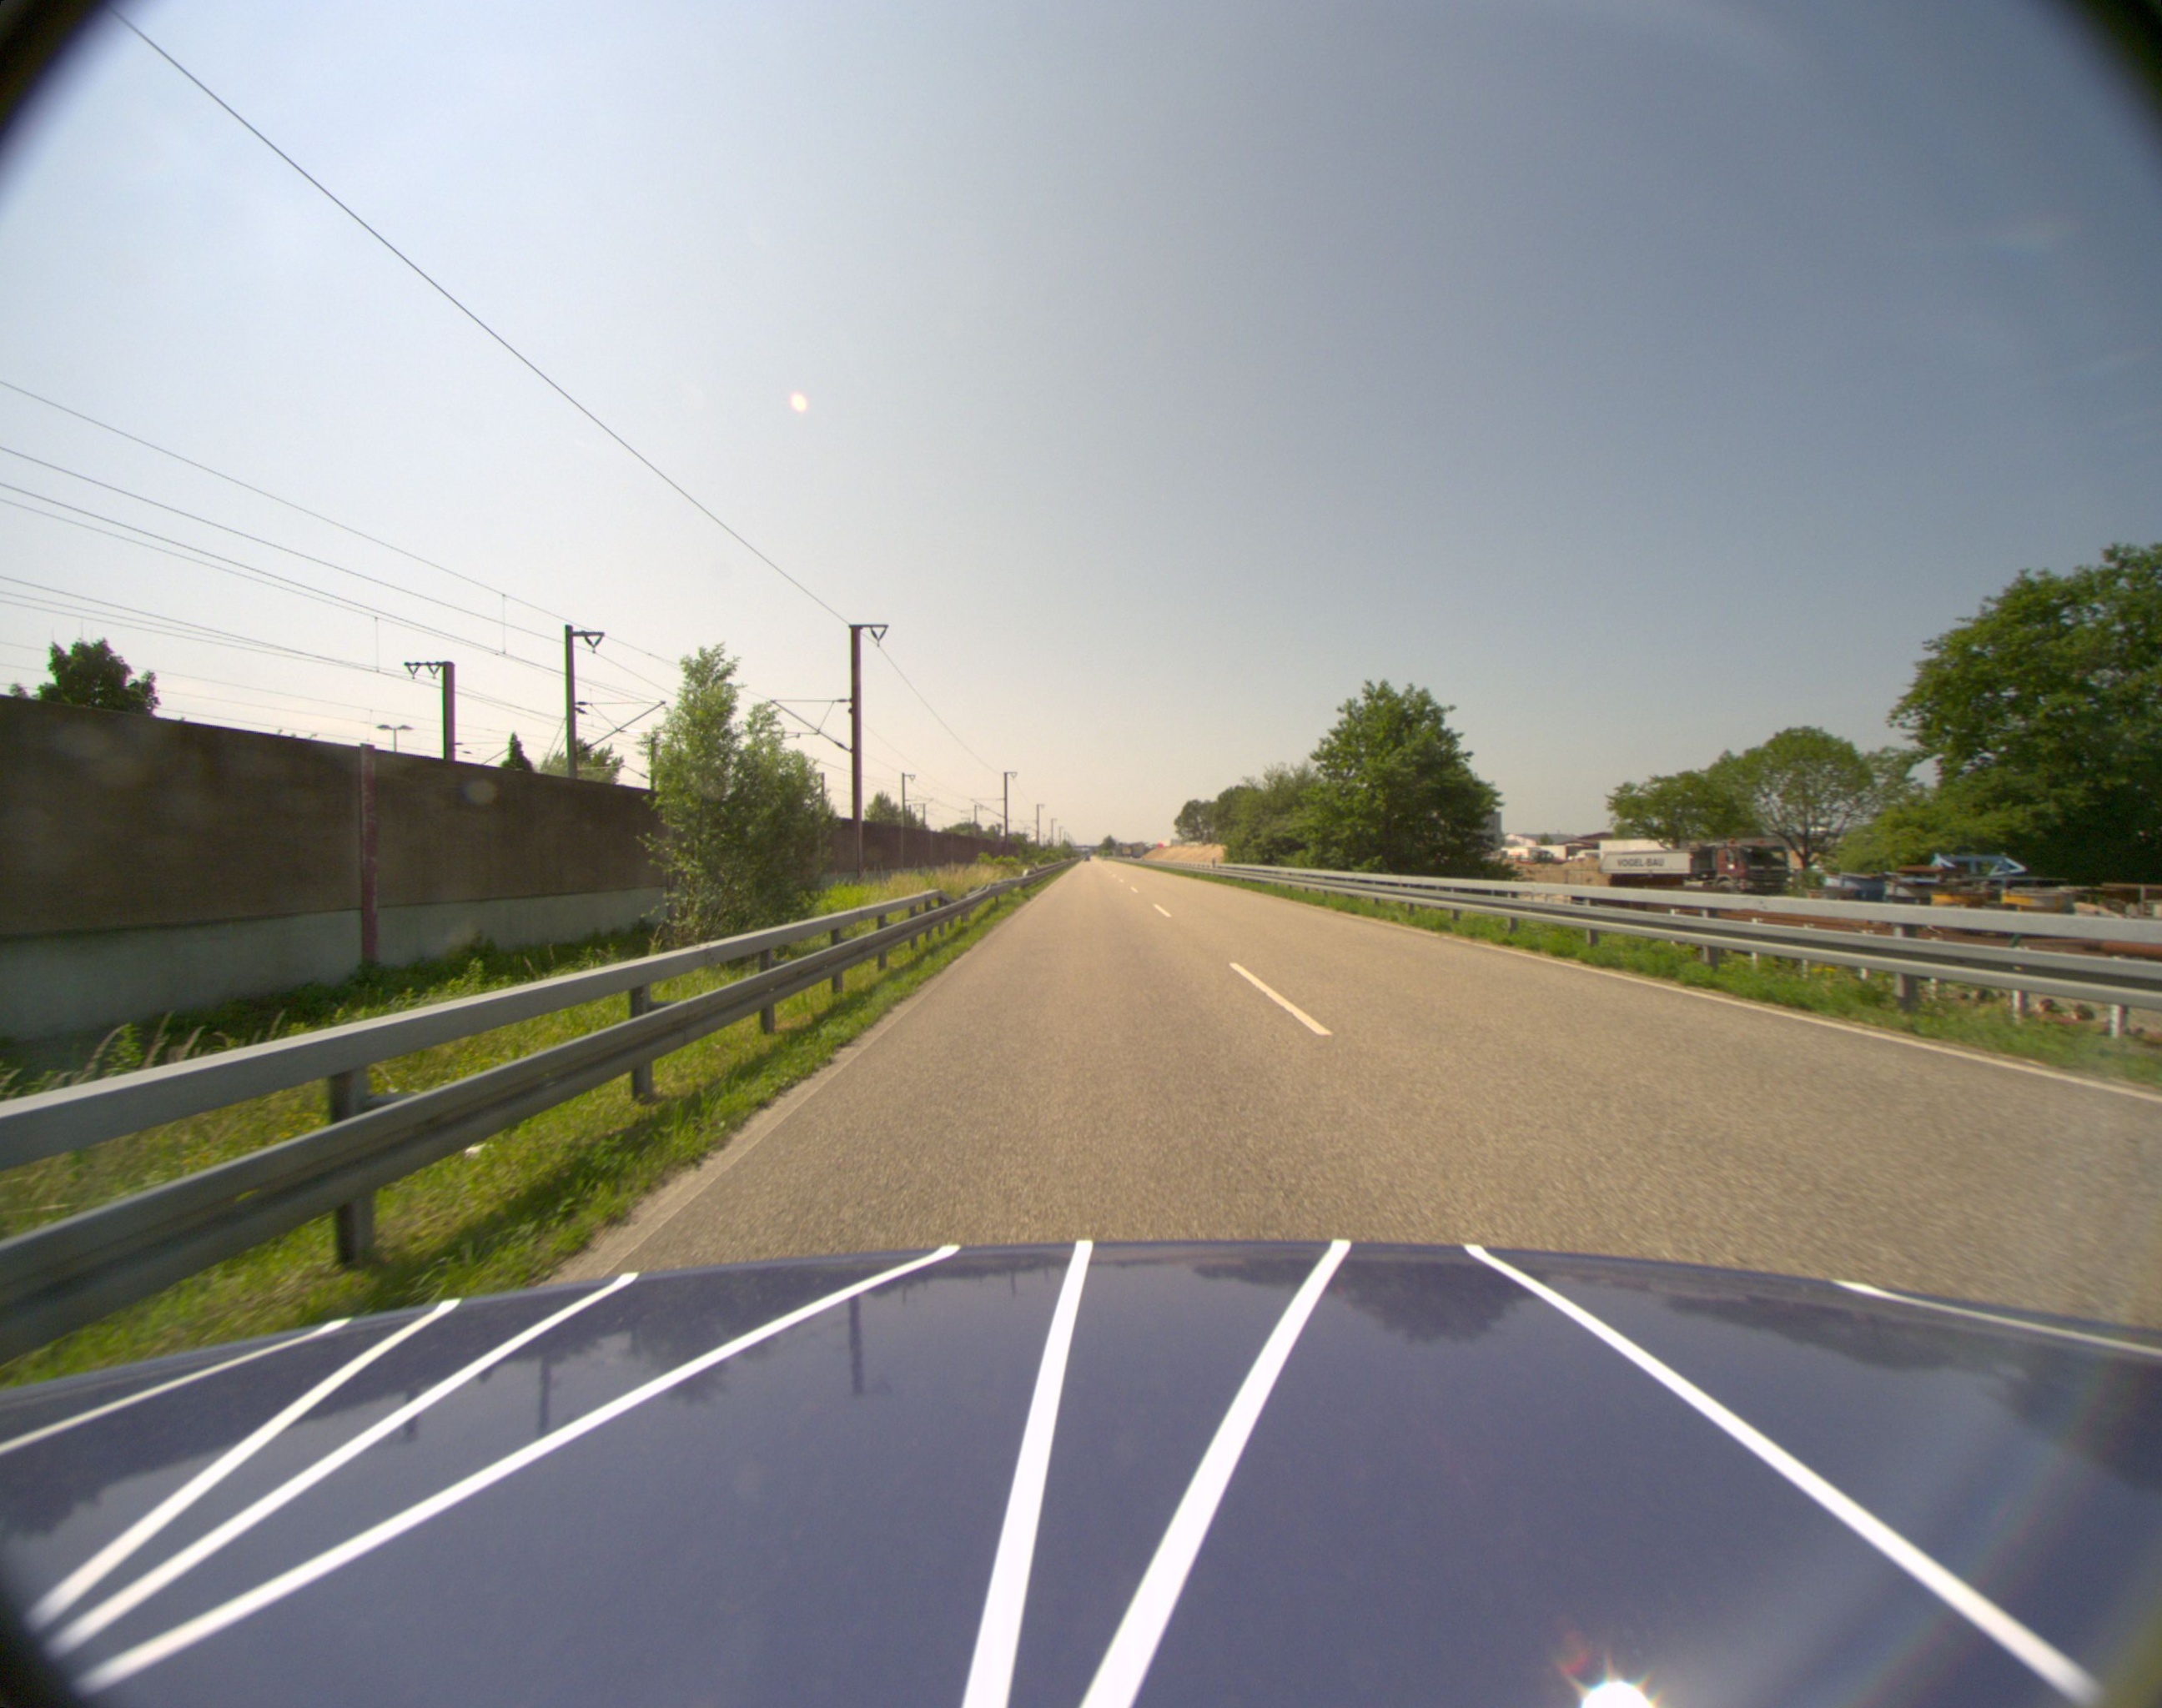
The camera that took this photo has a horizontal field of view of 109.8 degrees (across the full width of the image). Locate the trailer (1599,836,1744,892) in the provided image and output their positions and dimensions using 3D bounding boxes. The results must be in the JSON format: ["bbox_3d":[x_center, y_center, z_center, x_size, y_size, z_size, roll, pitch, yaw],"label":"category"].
[{"bbox_3d":[37.389,0.539,48.640,2.445,3.205,8.807,-2,1,1],"label":"trailer"}]

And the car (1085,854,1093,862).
[{"bbox_3d":[2.057,1.065,199.891,1.999,2.002,3.999,-2,0,-1],"label":"car"}]

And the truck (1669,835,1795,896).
[{"bbox_3d":[37.205,0.588,43.717,2.444,3.205,5.885,-2,1,5],"label":"truck"}]

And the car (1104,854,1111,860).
[{"bbox_3d":[7.229,0.768,206.827,1.599,1.567,3.828,-2,0,0],"label":"car"}]
